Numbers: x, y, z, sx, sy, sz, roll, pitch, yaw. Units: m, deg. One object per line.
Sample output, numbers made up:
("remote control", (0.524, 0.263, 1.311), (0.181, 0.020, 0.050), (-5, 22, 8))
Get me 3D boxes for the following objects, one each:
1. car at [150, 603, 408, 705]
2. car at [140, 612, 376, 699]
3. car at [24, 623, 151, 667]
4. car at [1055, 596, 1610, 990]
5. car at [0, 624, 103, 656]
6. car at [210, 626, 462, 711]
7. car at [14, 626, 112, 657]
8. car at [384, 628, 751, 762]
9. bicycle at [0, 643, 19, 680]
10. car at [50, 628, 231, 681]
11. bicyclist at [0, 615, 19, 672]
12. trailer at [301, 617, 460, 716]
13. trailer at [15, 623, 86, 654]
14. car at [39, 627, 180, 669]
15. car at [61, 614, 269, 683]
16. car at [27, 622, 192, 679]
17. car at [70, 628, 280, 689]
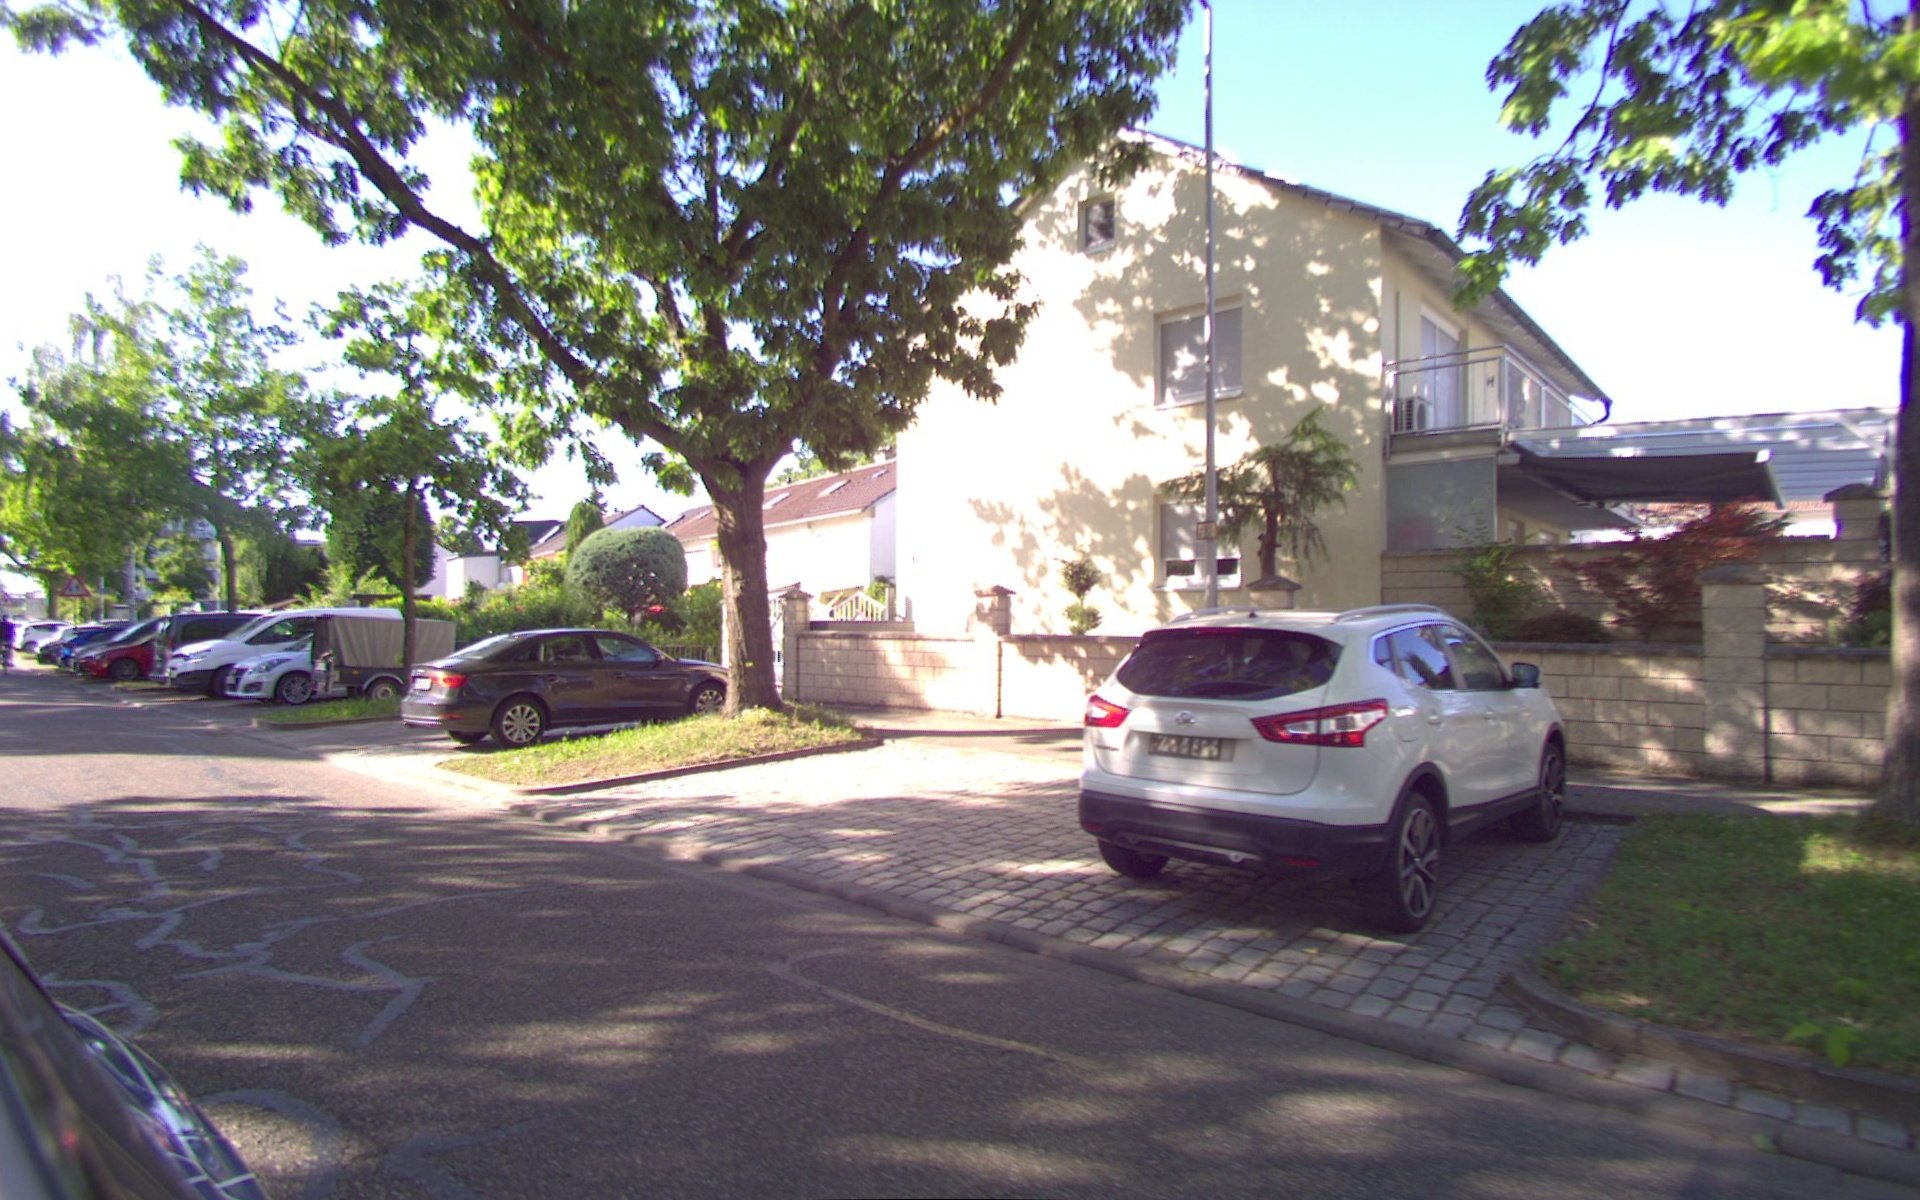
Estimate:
("car", (-14.527, 1.107, 21.784), (1.998, 1.959, 4.194), (-1, -2, 39))
("car", (-16.392, 1.220, 23.789), (1.965, 1.783, 4.197), (-1, -1, 39))
("car", (-36.349, 1.836, 42.218), (1.707, 1.626, 3.895), (-2, -1, 44))
("car", (2.569, 0.803, 6.301), (1.792, 1.579, 4.142), (-2, 0, 42))
("car", (-47.027, 2.052, 52.272), (1.919, 1.586, 3.917), (-1, -2, 36))
("car", (-12.323, 1.284, 20.211), (1.688, 1.528, 3.948), (-1, -2, 38))
("car", (-45.010, 2.049, 50.825), (1.707, 1.507, 3.477), (-1, -2, 41))
("car", (-4.979, 1.105, 13.274), (1.691, 1.483, 4.163), (-1, -2, 44))
("bicycle", (-28.780, 1.839, 30.358), (1.986, 1.066, 0.590), (-1, -5, 43))
("car", (-25.753, 1.673, 31.911), (1.723, 1.435, 4.227), (-1, -1, 41))
("bicyclist", (-28.792, 1.292, 30.416), (0.975, 1.687, 0.589), (-1, -5, 43))
("trailer", (-10.572, 1.165, 18.494), (2.210, 1.686, 1.475), (1, -2, -44))
("trailer", (-50.152, 2.117, 55.851), (1.298, 1.660, 2.731), (-1, -2, 39))
("car", (-32.509, 1.795, 38.730), (1.796, 1.526, 3.956), (-2, -2, 44))
("car", (-23.546, 1.380, 30.126), (1.794, 1.782, 4.624), (-2, -1, 41))
("car", (-29.181, 1.677, 34.805), (1.760, 1.737, 4.165), (-1, -1, 42))
("car", (-21.850, 1.562, 28.294), (1.837, 1.511, 4.427), (-1, -1, 43))
